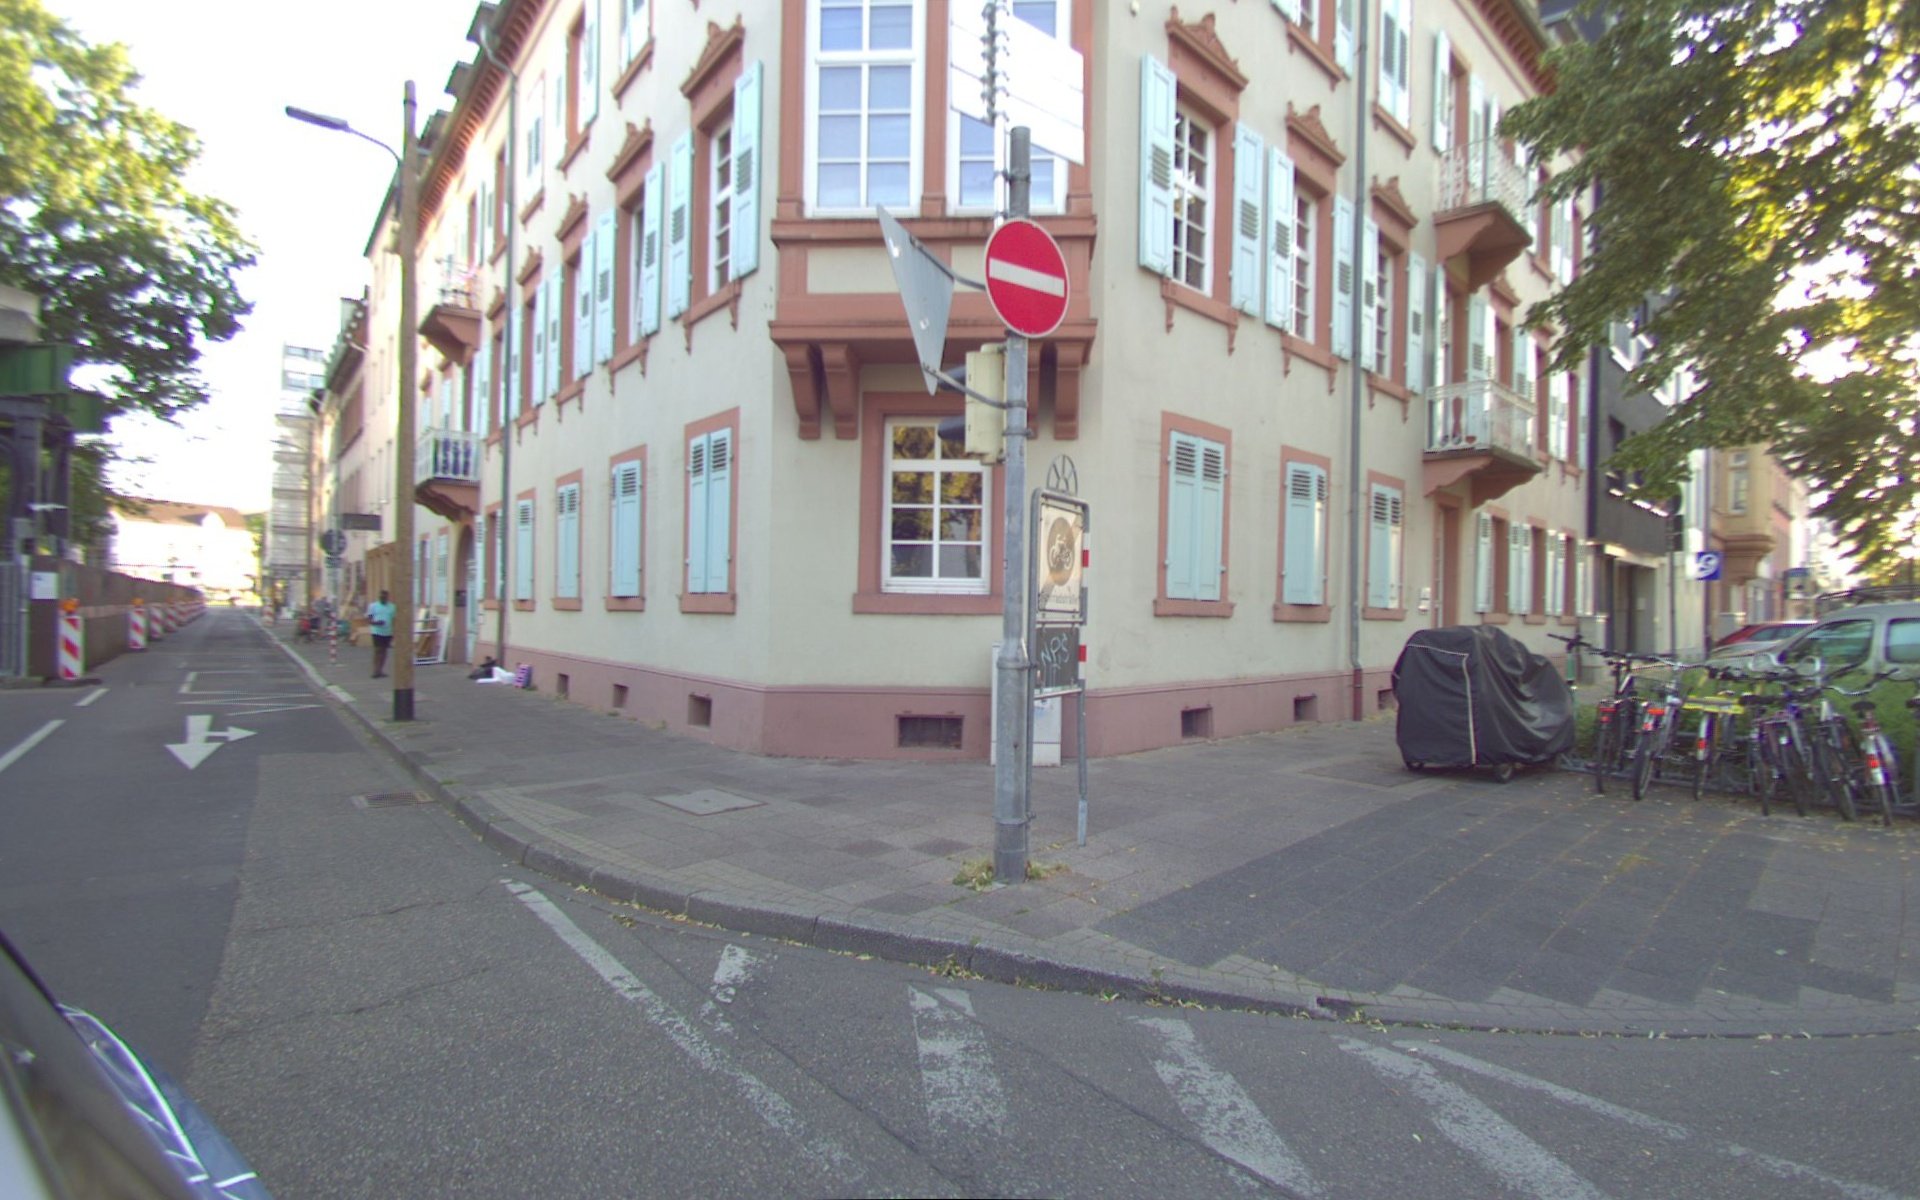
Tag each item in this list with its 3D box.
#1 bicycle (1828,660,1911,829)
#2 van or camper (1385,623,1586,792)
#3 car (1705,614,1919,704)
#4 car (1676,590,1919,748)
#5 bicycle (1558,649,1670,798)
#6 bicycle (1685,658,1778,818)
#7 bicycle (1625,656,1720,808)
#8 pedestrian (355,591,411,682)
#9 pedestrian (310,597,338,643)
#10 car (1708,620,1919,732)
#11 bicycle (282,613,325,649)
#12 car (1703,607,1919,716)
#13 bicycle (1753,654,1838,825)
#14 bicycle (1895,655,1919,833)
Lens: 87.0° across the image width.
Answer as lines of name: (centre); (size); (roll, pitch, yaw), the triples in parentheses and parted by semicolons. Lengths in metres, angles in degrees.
bicycle: (6.792, 1.022, 7.537); (1.572, 1.090, 0.320); (2, 1, -44)
van or camper: (4.594, 0.866, 8.793); (1.817, 1.269, 0.945); (2, 0, -42)
car: (16.435, 1.055, 18.683); (4.219, 1.528, 1.738); (0, -1, 41)
car: (11.612, 0.837, 12.878); (1.674, 1.863, 3.827); (2, -2, -42)
bicycle: (5.438, 0.973, 8.382); (1.572, 1.090, 0.397); (2, 1, -44)
bicycle: (5.974, 1.010, 7.811); (1.572, 1.090, 0.342); (2, -2, -44)
bicycle: (5.709, 1.003, 8.081); (1.572, 1.090, 0.323); (2, -2, -44)
pedestrian: (-11.200, 0.692, 19.649); (0.813, 1.709, 0.650); (-2, 1, -38)
pedestrian: (-23.920, 0.744, 38.073); (0.813, 1.709, 0.650); (1, -1, -38)
car: (13.521, 1.079, 15.000); (1.623, 1.526, 3.667); (1, -1, -41)
bicycle: (-21.717, 1.010, 33.512); (0.649, 1.179, 1.612); (0, -1, -11)
car: (14.768, 0.981, 16.651); (1.715, 1.597, 3.842); (3, -1, -43)
bicycle: (6.304, 0.992, 7.611); (1.588, 1.157, 0.313); (3, -2, -44)
bicycle: (7.009, 0.996, 7.252); (1.572, 1.149, 0.332); (2, 1, -44)
